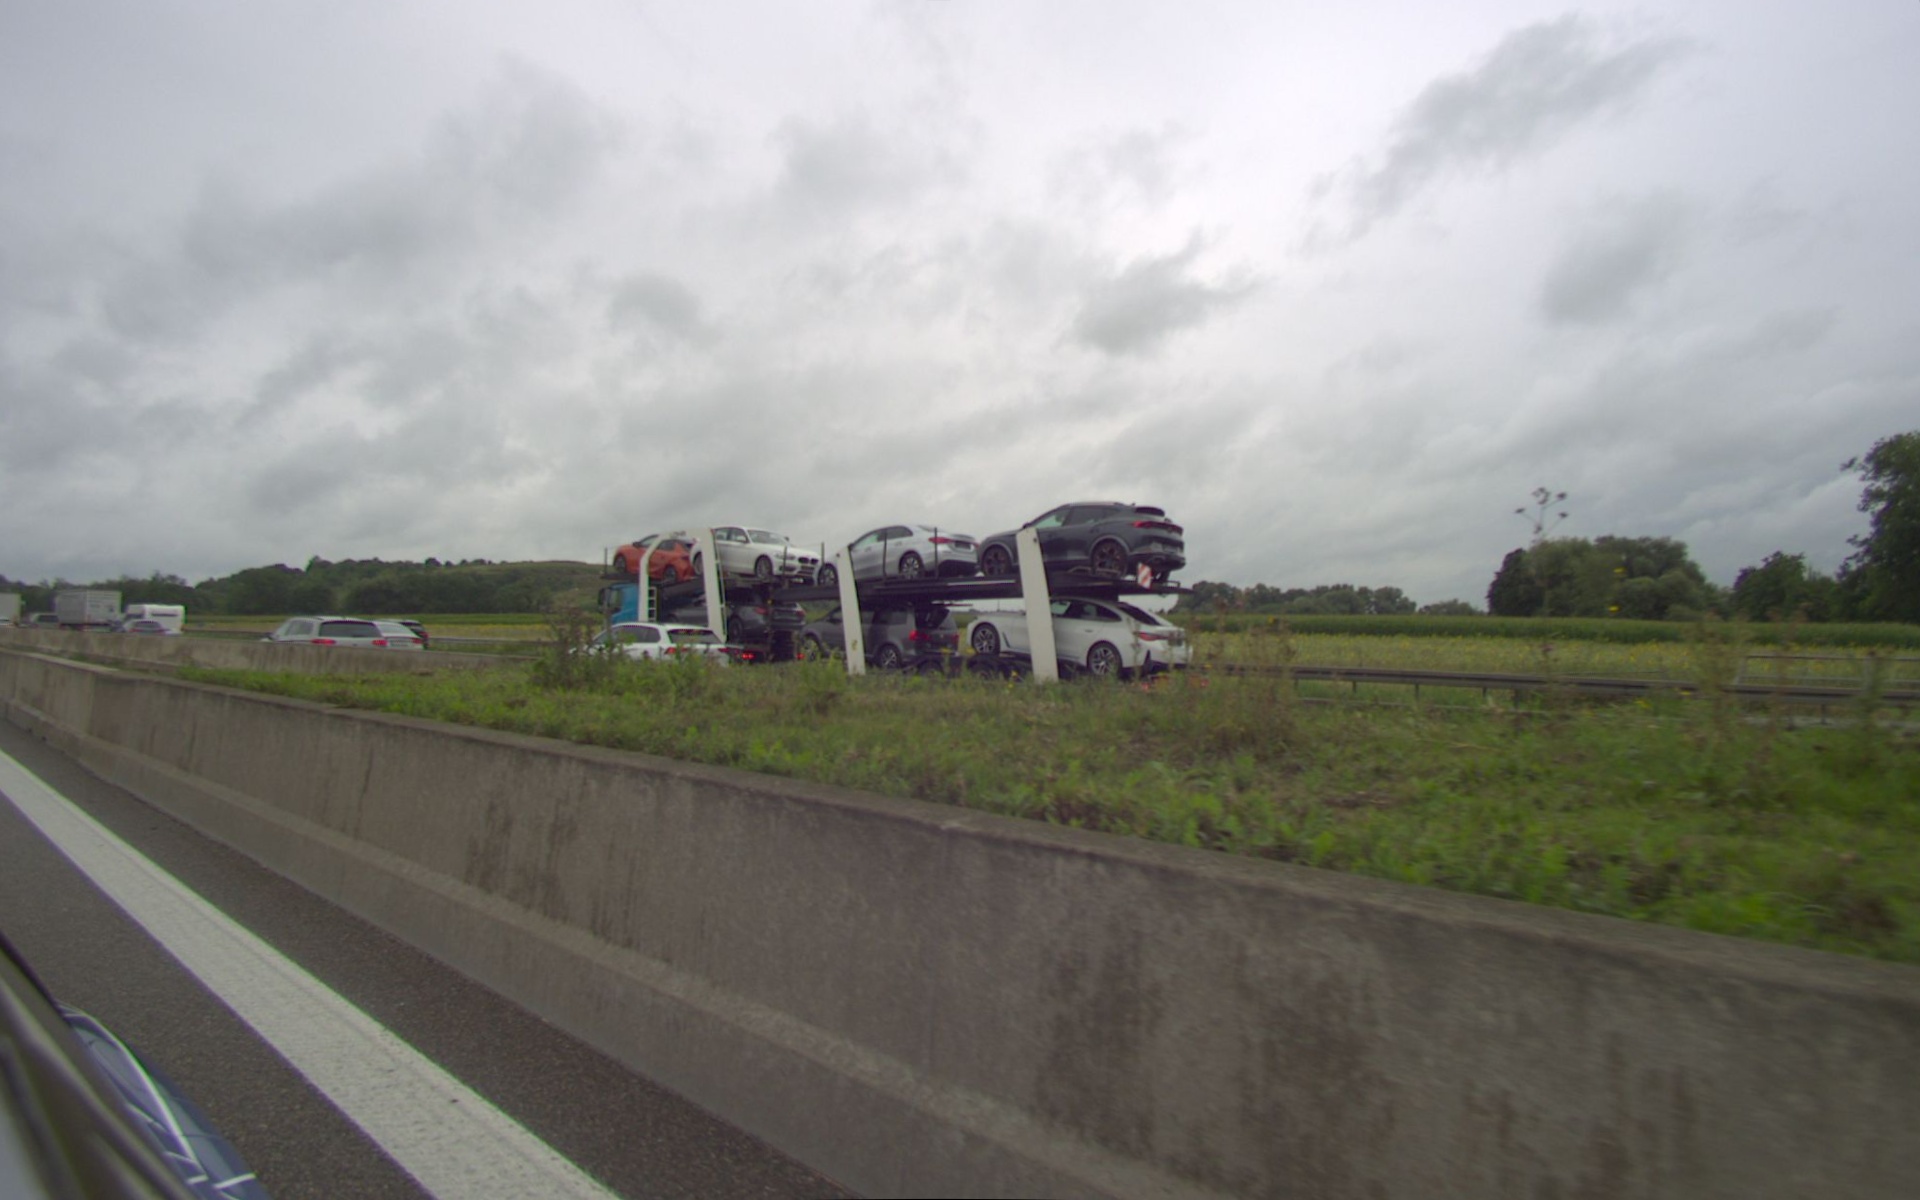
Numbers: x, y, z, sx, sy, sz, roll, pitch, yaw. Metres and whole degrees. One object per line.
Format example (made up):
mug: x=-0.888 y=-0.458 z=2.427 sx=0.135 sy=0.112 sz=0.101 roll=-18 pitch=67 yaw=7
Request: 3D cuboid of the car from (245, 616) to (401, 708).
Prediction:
car: x=-15.270 y=1.370 z=24.159 sx=4.588 sy=1.893 sz=1.907 roll=0 pitch=1 yaw=41

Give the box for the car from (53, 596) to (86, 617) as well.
car: x=-90.817 y=0.694 z=103.164 sx=4.619 sy=2.029 sz=1.973 roll=-1 pitch=-1 yaw=41

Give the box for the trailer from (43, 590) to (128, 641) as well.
trailer: x=-79.444 y=1.291 z=91.745 sx=15.618 sy=4.303 sz=3.674 roll=0 pitch=1 yaw=41

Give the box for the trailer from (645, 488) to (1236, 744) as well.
trailer: x=-1.635 y=0.257 z=23.235 sx=15.701 sy=4.273 sz=2.967 roll=0 pitch=1 yaw=42

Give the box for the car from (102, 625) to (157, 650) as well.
car: x=-63.493 y=2.829 z=77.355 sx=5.126 sy=1.766 sz=2.072 roll=-1 pitch=1 yaw=37

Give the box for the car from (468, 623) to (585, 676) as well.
car: x=-15.618 y=1.726 z=36.355 sx=4.799 sy=1.723 sz=2.071 roll=-1 pitch=-1 yaw=42

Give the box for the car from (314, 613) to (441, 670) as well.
car: x=-19.580 y=1.330 z=33.917 sx=5.161 sy=1.723 sz=2.072 roll=-1 pitch=-1 yaw=40

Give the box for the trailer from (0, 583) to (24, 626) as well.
trailer: x=-97.537 y=0.475 z=102.249 sx=12.325 sy=4.119 sz=3.054 roll=0 pitch=1 yaw=41

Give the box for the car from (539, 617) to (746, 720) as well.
car: x=-7.030 y=1.380 z=22.094 sx=5.030 sy=1.893 sz=1.973 roll=0 pitch=1 yaw=41

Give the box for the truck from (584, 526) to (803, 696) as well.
truck: x=-7.608 y=0.256 z=28.488 sx=6.231 sy=4.273 sz=2.926 roll=0 pitch=1 yaw=41

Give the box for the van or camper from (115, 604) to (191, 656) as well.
van or camper: x=-58.751 y=2.093 z=73.607 sx=7.692 sy=3.529 sz=2.682 roll=0 pitch=1 yaw=39

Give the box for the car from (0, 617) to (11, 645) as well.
car: x=-68.007 y=2.170 z=70.847 sx=4.171 sy=1.939 sz=1.864 roll=-1 pitch=-2 yaw=41

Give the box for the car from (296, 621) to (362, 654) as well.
car: x=-34.157 y=1.989 z=54.746 sx=3.996 sy=1.607 sz=1.866 roll=0 pitch=1 yaw=39

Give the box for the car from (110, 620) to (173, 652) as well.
car: x=-47.260 y=2.042 z=58.389 sx=4.797 sy=1.723 sz=2.040 roll=-1 pitch=-1 yaw=41

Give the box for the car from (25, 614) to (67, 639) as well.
car: x=-73.737 y=2.094 z=81.604 sx=5.275 sy=1.939 sz=1.864 roll=-1 pitch=-2 yaw=41
